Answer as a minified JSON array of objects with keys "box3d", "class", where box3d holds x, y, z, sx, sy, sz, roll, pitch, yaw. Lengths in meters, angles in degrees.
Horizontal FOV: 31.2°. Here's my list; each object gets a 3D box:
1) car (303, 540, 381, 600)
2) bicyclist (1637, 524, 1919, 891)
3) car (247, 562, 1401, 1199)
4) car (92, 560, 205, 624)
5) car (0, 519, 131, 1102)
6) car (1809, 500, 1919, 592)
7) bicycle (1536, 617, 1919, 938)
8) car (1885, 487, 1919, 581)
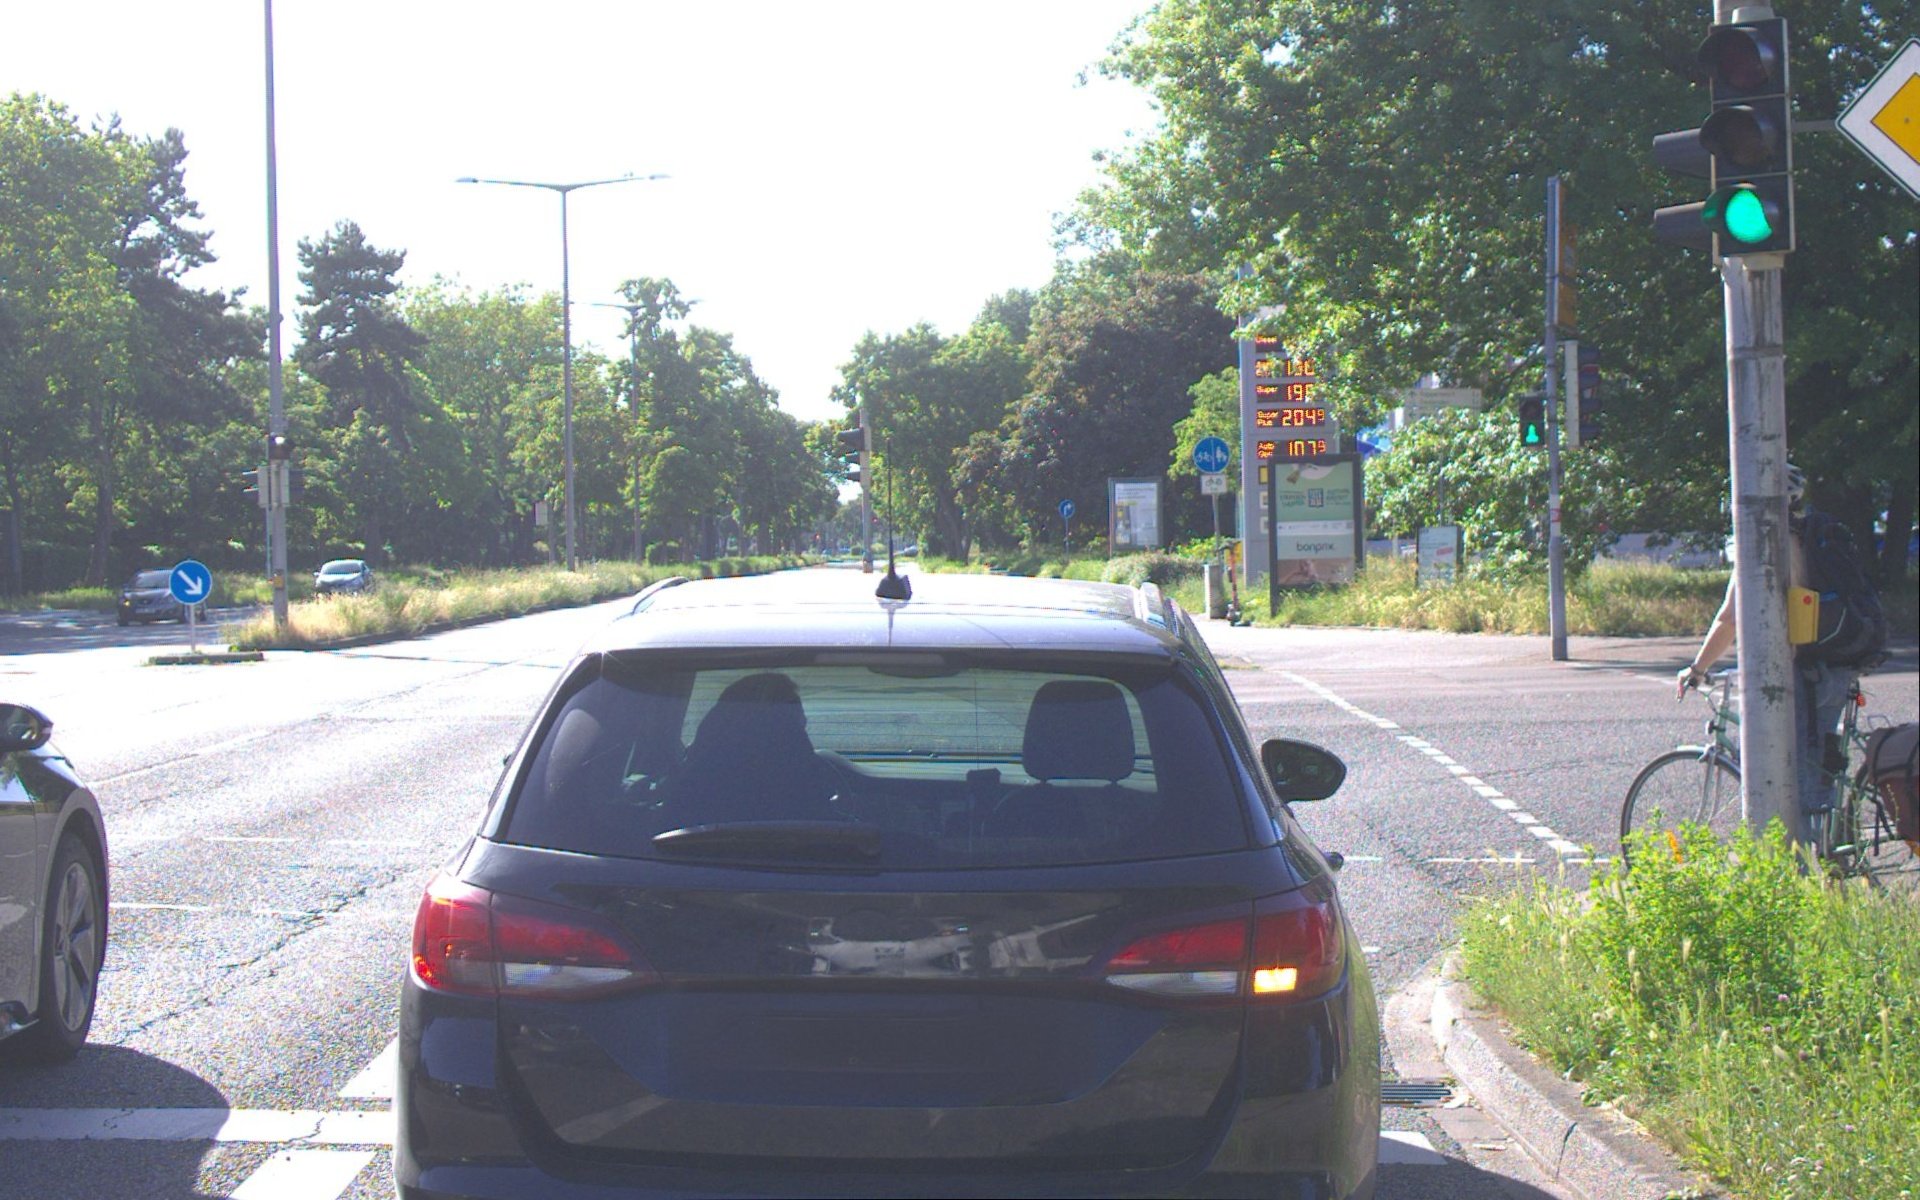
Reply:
[{"box3d":[-21.550,-1.060,119.980,1.993,2.007,4.000,-2,1,-1],"class":"car"},{"box3d":[2.994,0.389,12.484,0.536,1.273,0.829,-2,-1,-44],"class":"bicyclist"},{"box3d":[-0.228,0.676,7.349,1.756,1.490,4.207,0,0,-1],"class":"car"},{"box3d":[-20.943,-0.226,88.851,1.993,1.525,4.000,-2,1,-1],"class":"car"},{"box3d":[-3.428,0.572,8.695,1.684,1.575,4.207,0,0,-1],"class":"car"},{"box3d":[16.715,-0.954,58.939,3.887,1.512,1.746,-2,1,-23],"class":"car"},{"box3d":[3.003,0.635,12.485,0.536,1.094,1.775,-2,-1,-43],"class":"bicycle"},{"box3d":[17.186,-1.112,55.854,3.887,1.512,1.746,-2,1,-23],"class":"car"}]
